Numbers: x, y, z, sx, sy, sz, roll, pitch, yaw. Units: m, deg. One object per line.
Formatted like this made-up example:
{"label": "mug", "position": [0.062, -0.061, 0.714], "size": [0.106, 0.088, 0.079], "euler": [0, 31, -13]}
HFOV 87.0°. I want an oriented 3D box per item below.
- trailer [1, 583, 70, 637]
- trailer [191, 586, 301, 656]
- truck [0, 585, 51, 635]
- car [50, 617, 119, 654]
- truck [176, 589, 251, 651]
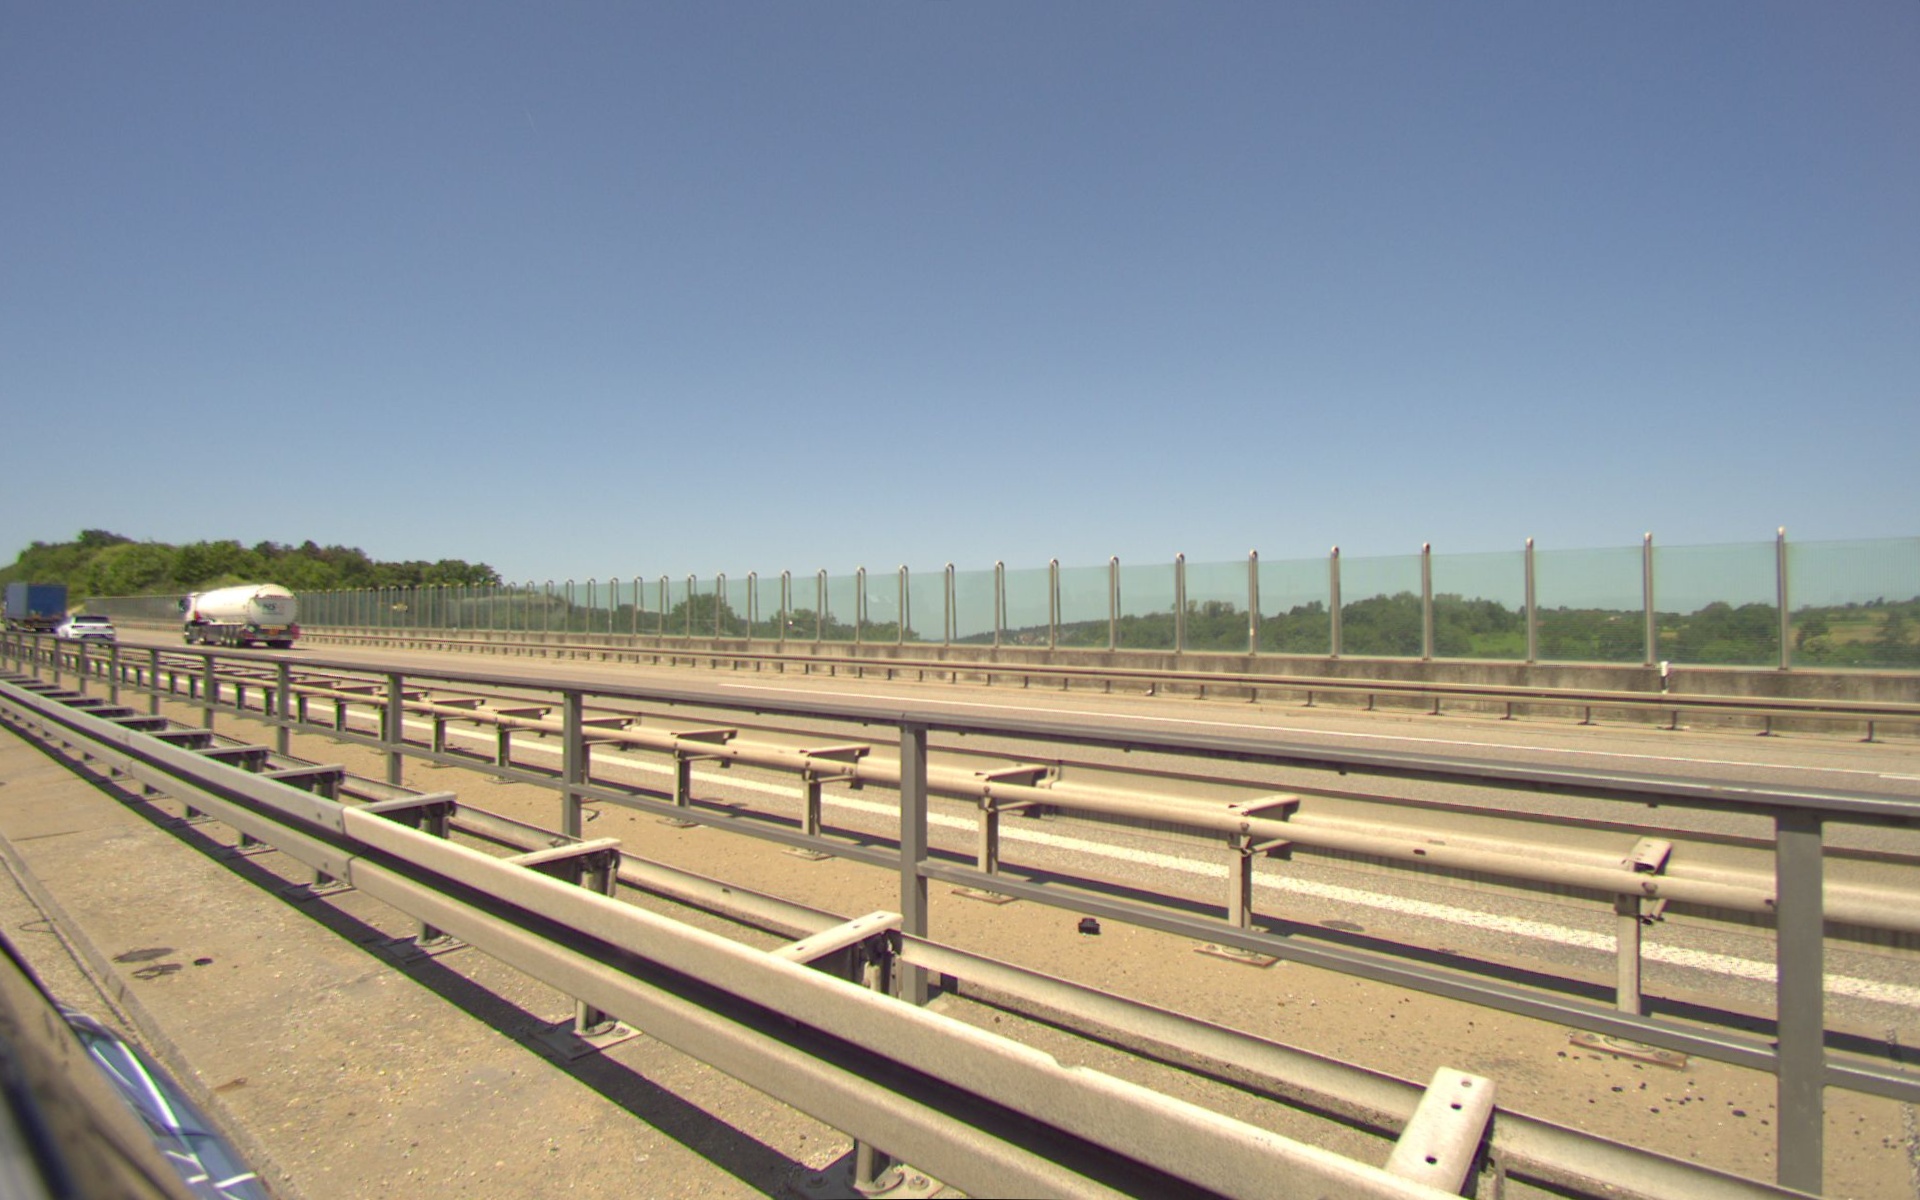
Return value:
{"label": "trailer", "position": [-76.460, 0.840, 83.594], "size": [12.043, 4.197, 2.676], "euler": [0, -2, 41]}
{"label": "trailer", "position": [-39.753, 1.156, 56.131], "size": [10.900, 3.567, 2.472], "euler": [0, -2, 42]}
{"label": "truck", "position": [-80.686, 0.875, 87.182], "size": [6.262, 4.148, 2.724], "euler": [0, -2, 41]}
{"label": "car", "position": [-41.428, 1.651, 47.874], "size": [3.997, 1.652, 1.788], "euler": [0, -3, 40]}
{"label": "truck", "position": [-44.715, 1.214, 60.575], "size": [5.328, 3.562, 2.494], "euler": [0, -2, 42]}
